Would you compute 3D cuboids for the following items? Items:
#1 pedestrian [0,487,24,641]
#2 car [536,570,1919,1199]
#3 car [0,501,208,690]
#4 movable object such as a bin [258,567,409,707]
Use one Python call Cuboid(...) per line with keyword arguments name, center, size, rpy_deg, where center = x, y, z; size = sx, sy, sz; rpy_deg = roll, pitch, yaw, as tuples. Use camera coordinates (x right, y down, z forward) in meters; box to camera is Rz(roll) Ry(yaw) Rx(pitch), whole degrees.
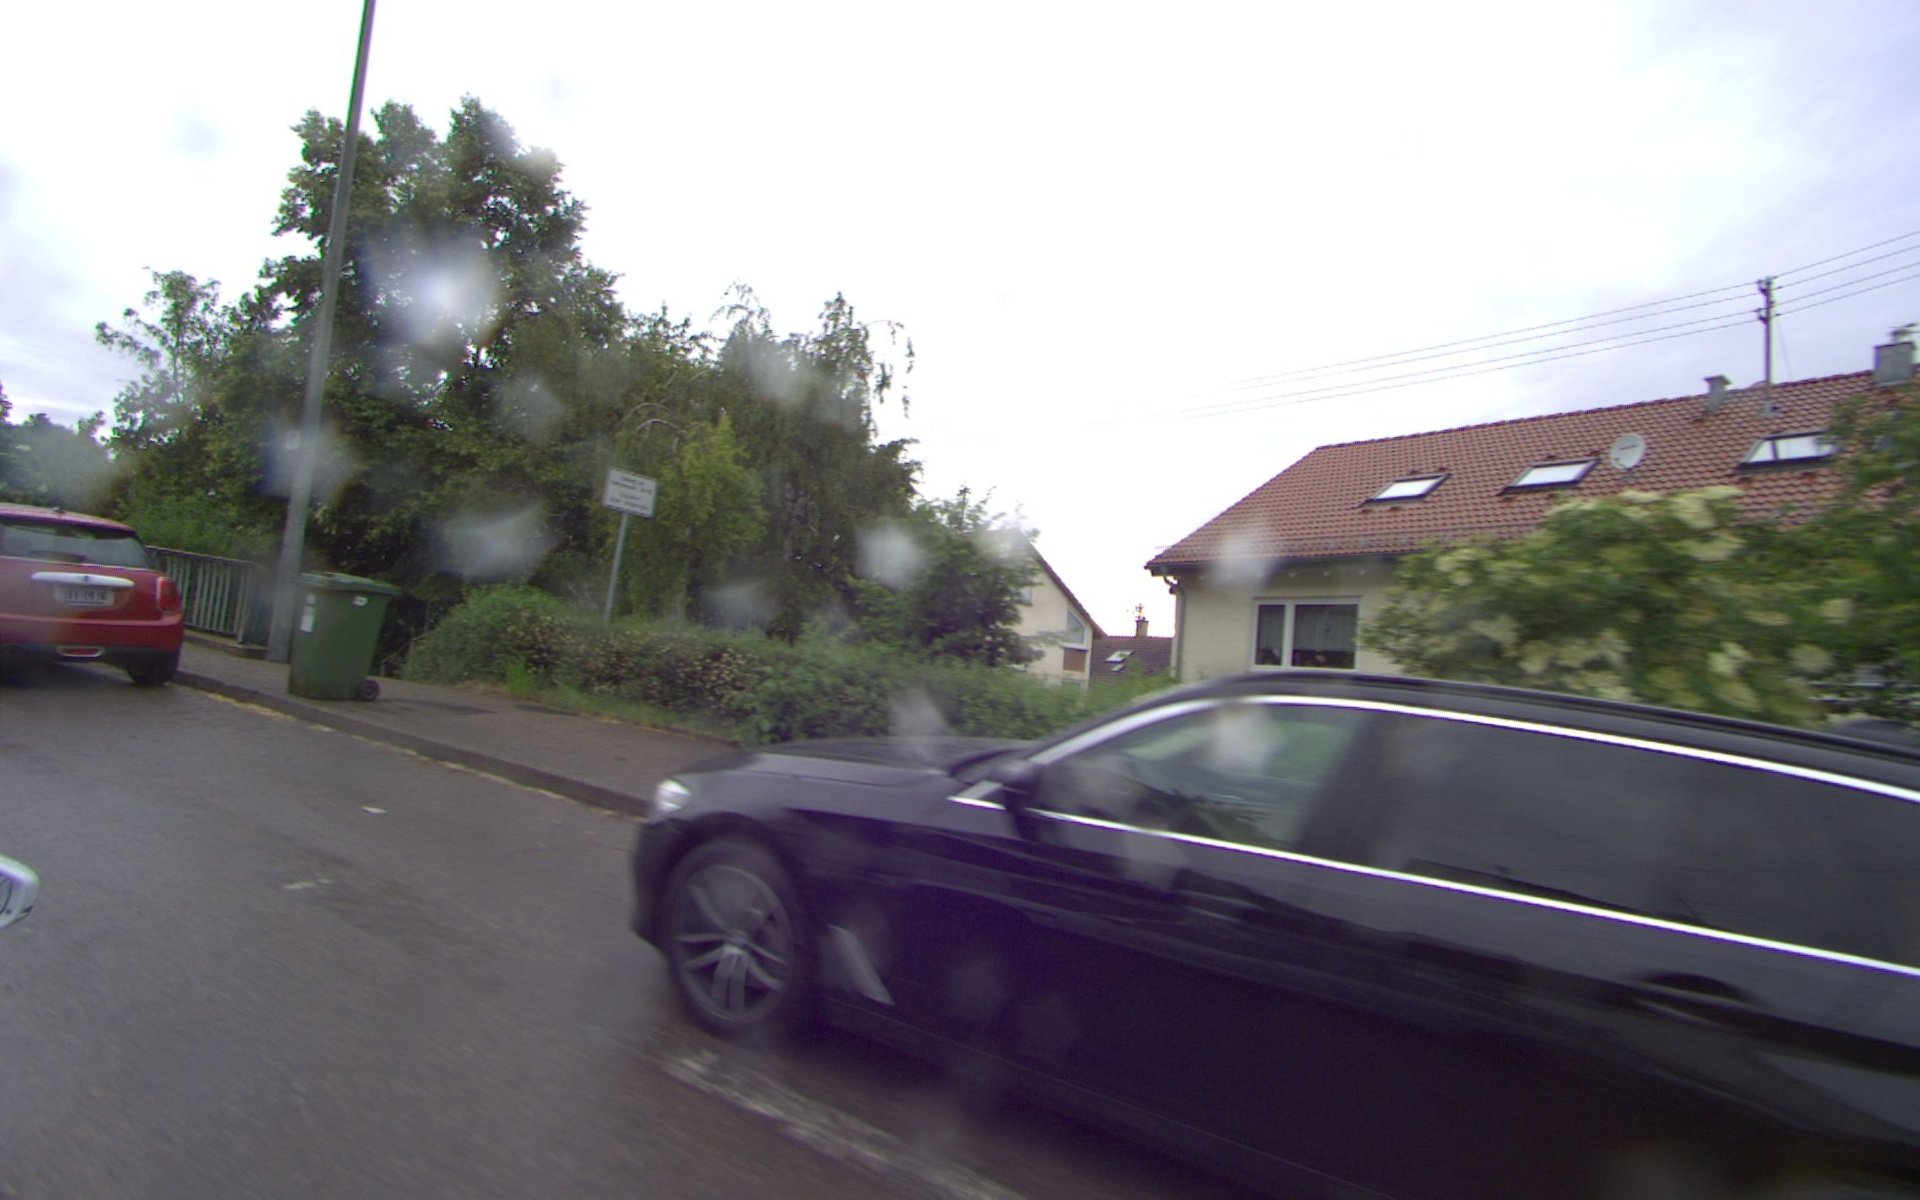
Cuboid(name="pedestrian", center=(-10.745, -0.440, 10.763), size=(0.695, 1.654, 0.719), rpy_deg=(7, -1, 27))
Cuboid(name="car", center=(0.955, 0.920, 3.307), size=(4.709, 1.476, 1.796), rpy_deg=(6, -1, 31))
Cuboid(name="car", center=(-8.761, -0.170, 8.960), size=(3.785, 1.431, 1.740), rpy_deg=(6, -2, 28))
Cuboid(name="movable object such as a bin", center=(-5.539, 0.333, 8.908), size=(0.834, 1.106, 0.715), rpy_deg=(7, -1, 30))
